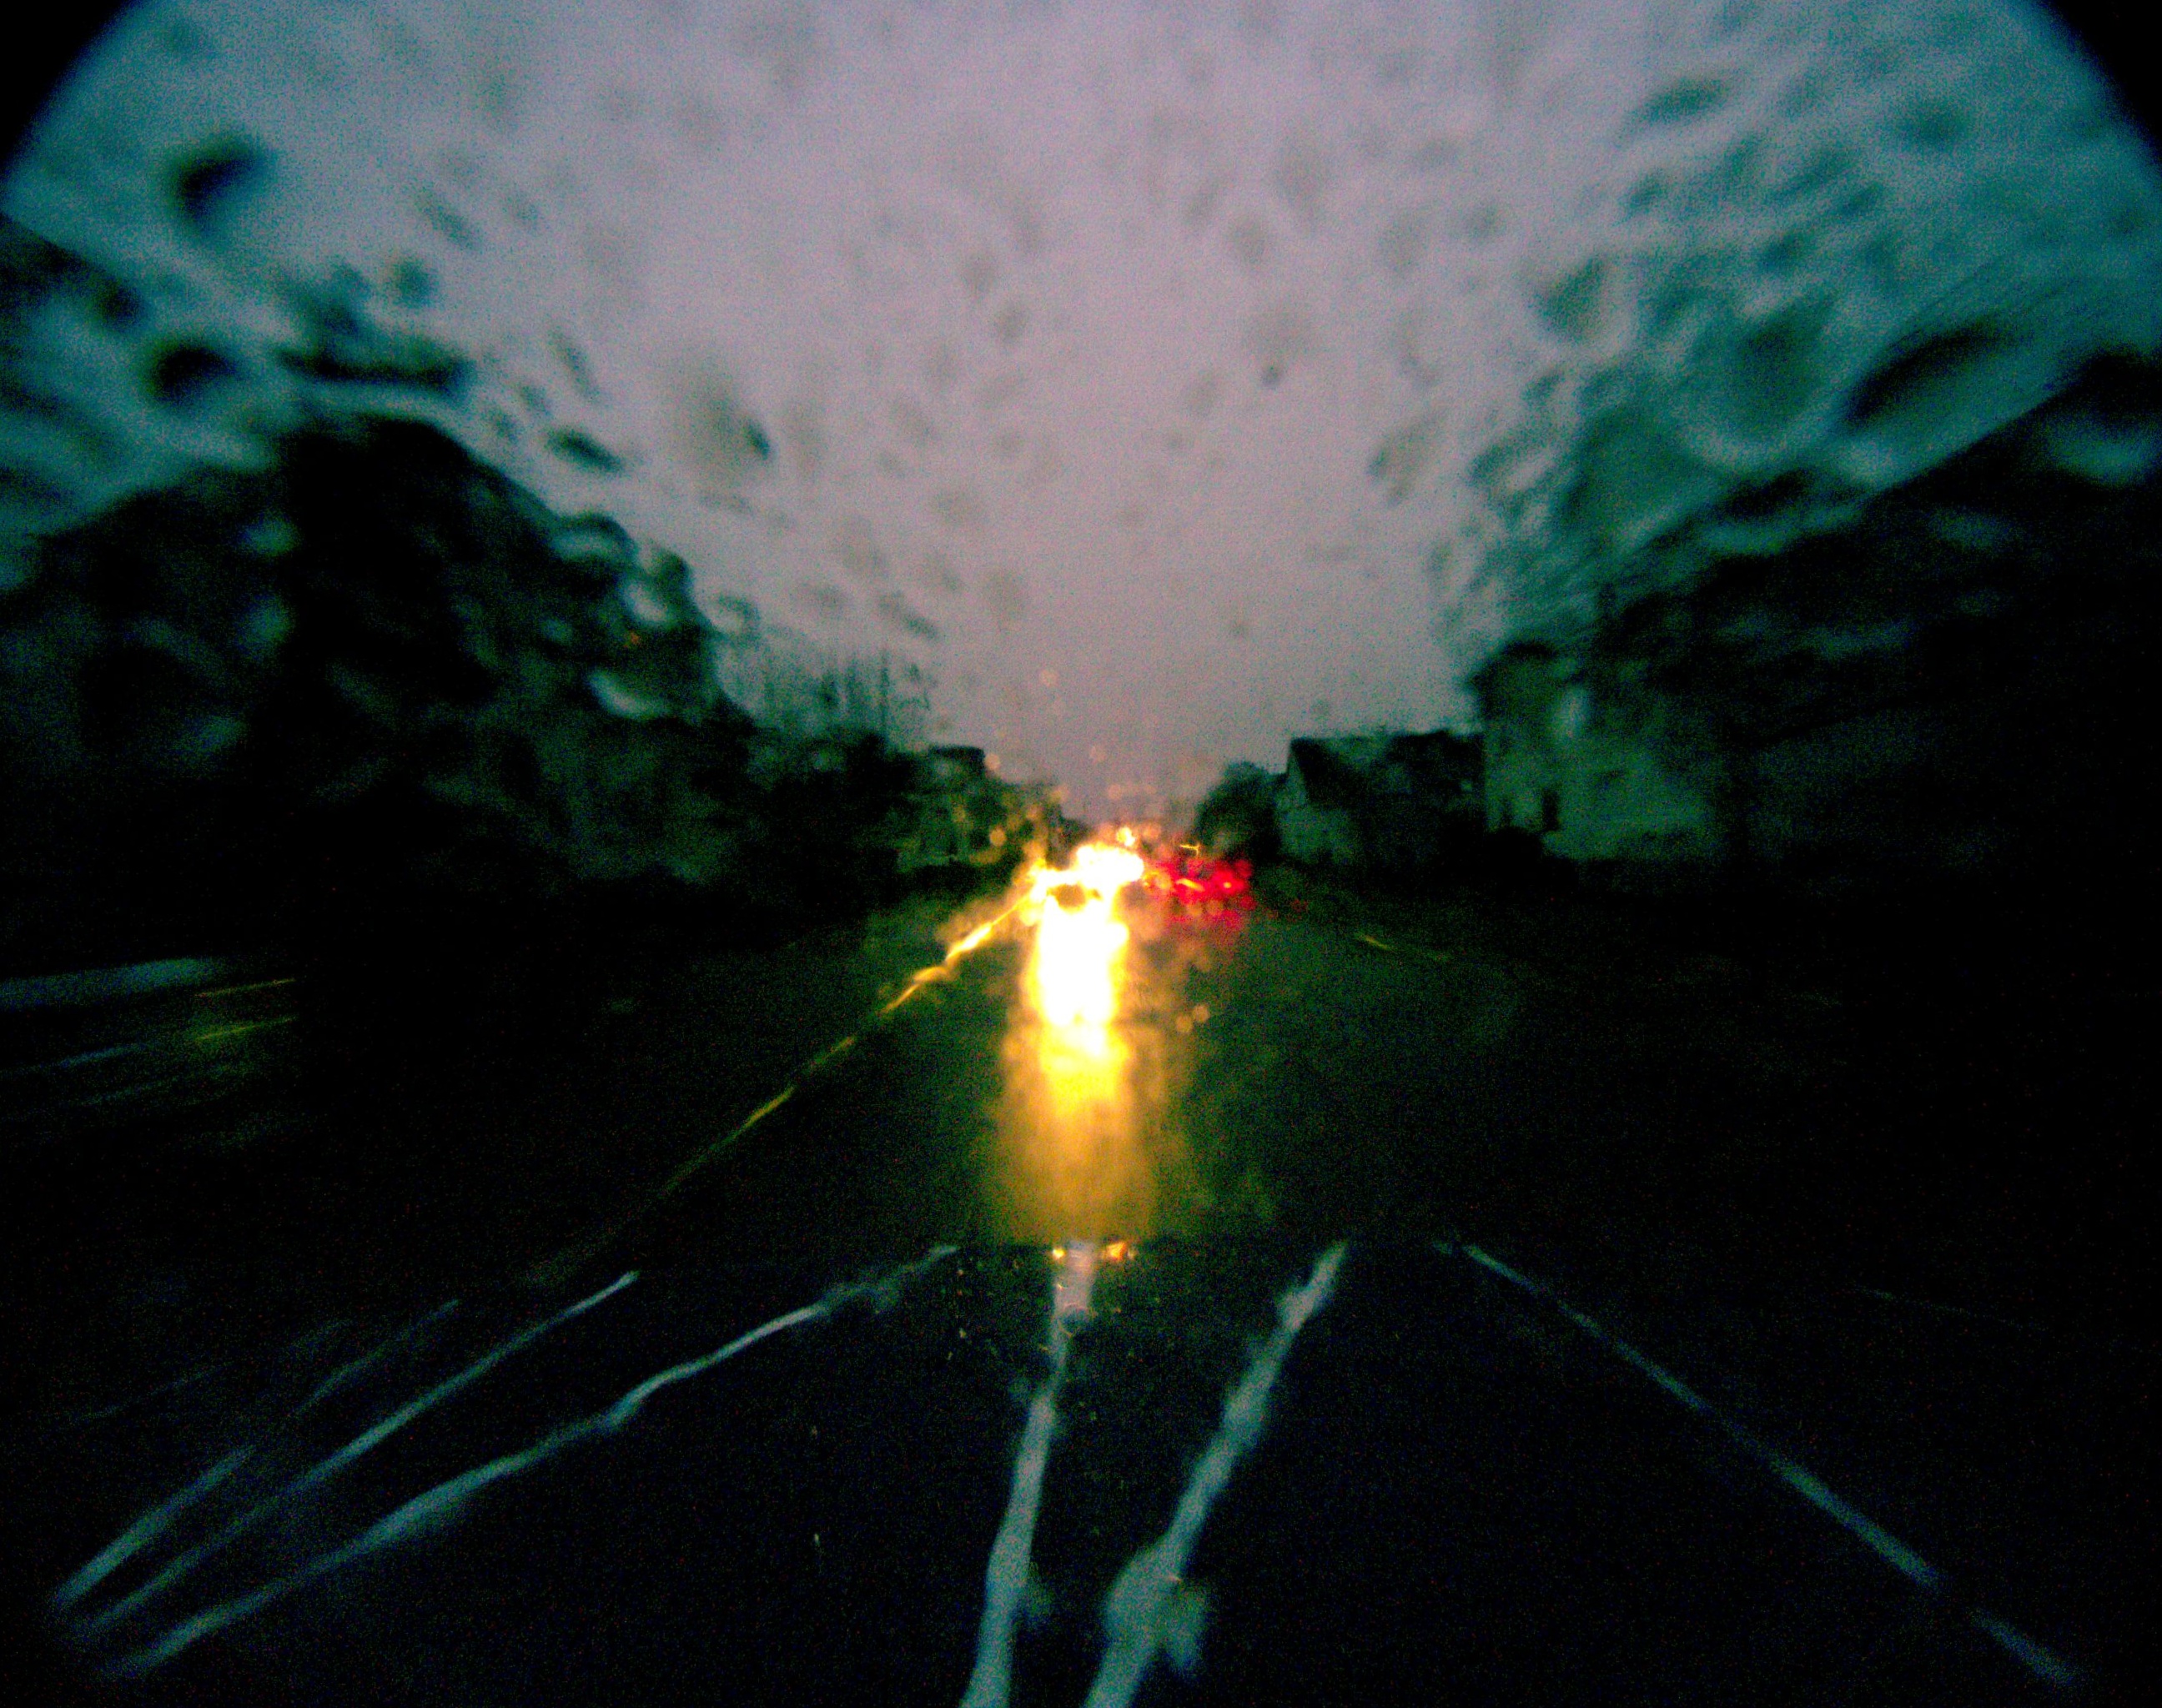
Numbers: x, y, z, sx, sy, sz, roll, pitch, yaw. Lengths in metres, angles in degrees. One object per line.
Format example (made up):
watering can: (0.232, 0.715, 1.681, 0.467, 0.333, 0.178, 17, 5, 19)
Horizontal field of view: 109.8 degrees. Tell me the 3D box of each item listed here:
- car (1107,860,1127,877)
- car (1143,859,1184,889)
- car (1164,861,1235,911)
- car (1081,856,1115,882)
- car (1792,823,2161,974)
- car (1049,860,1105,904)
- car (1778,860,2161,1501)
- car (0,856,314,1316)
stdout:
car: (3.721, 1.447, 77.917, 1.774, 1.608, 3.874, -2, 0, 7)
car: (4.190, 0.987, 39.030, 1.708, 1.433, 4.000, 1, 0, 1)
car: (3.751, 0.971, 24.722, 1.708, 1.433, 4.425, 1, 0, 2)
car: (1.194, 1.022, 52.691, 1.997, 1.660, 4.002, -1, 0, 6)
car: (13.387, 0.507, 11.034, 1.998, 1.745, 4.568, -1, 0, 3)
car: (-0.132, 1.021, 29.212, 1.998, 1.575, 4.000, 0, 0, 0)
car: (3.642, 0.834, 0.883, 1.818, 1.623, 4.225, 0, 0, 1)
car: (-6.165, 0.817, 2.903, 4.744, 1.620, 1.907, 0, 0, 4)
